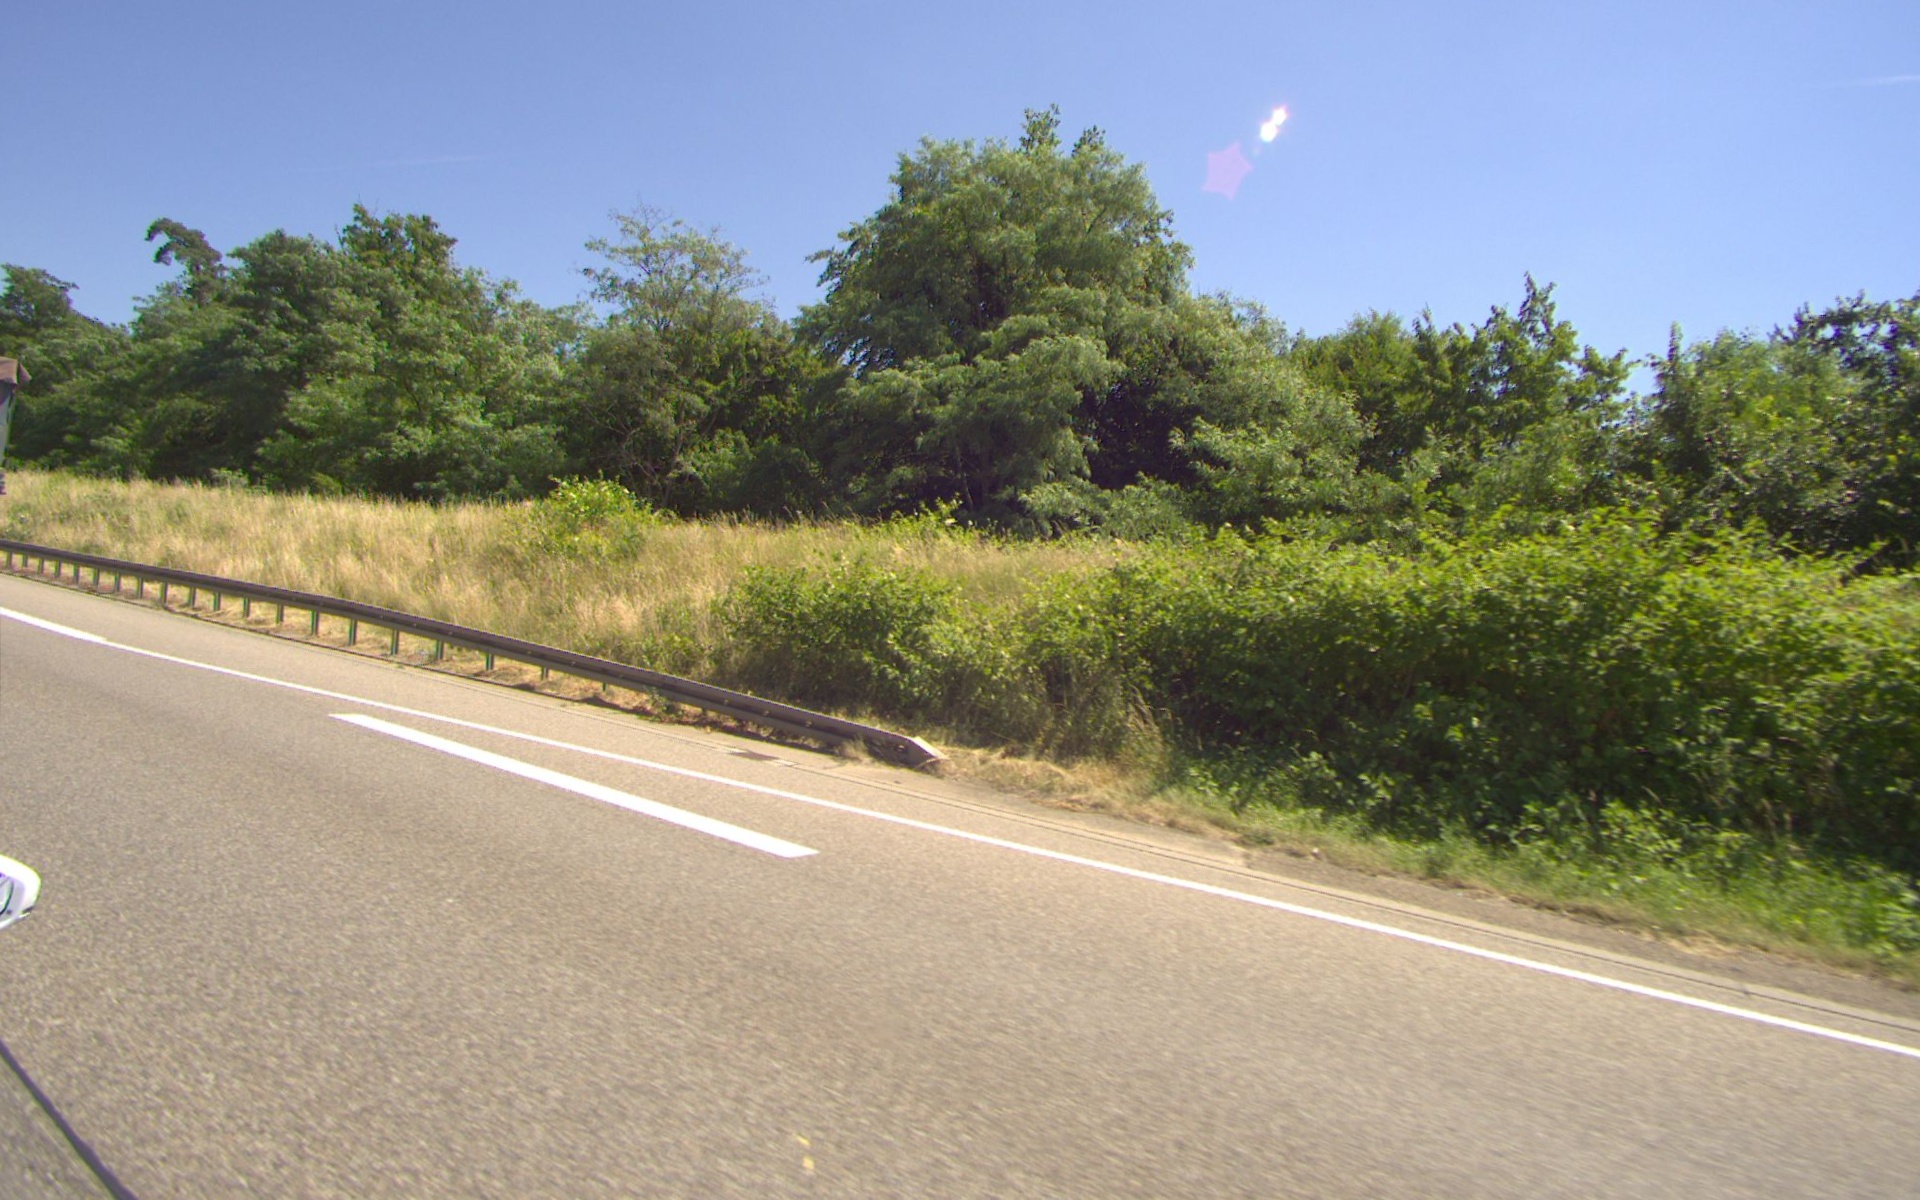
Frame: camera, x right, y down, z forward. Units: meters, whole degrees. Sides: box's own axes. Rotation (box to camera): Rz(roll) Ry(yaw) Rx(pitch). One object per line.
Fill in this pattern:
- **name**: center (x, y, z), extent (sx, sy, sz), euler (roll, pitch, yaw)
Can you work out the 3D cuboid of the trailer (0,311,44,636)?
- **trailer**: center (-15.705, -2.010, 13.438), extent (8.962, 3.803, 2.740), euler (6, -1, 34)
